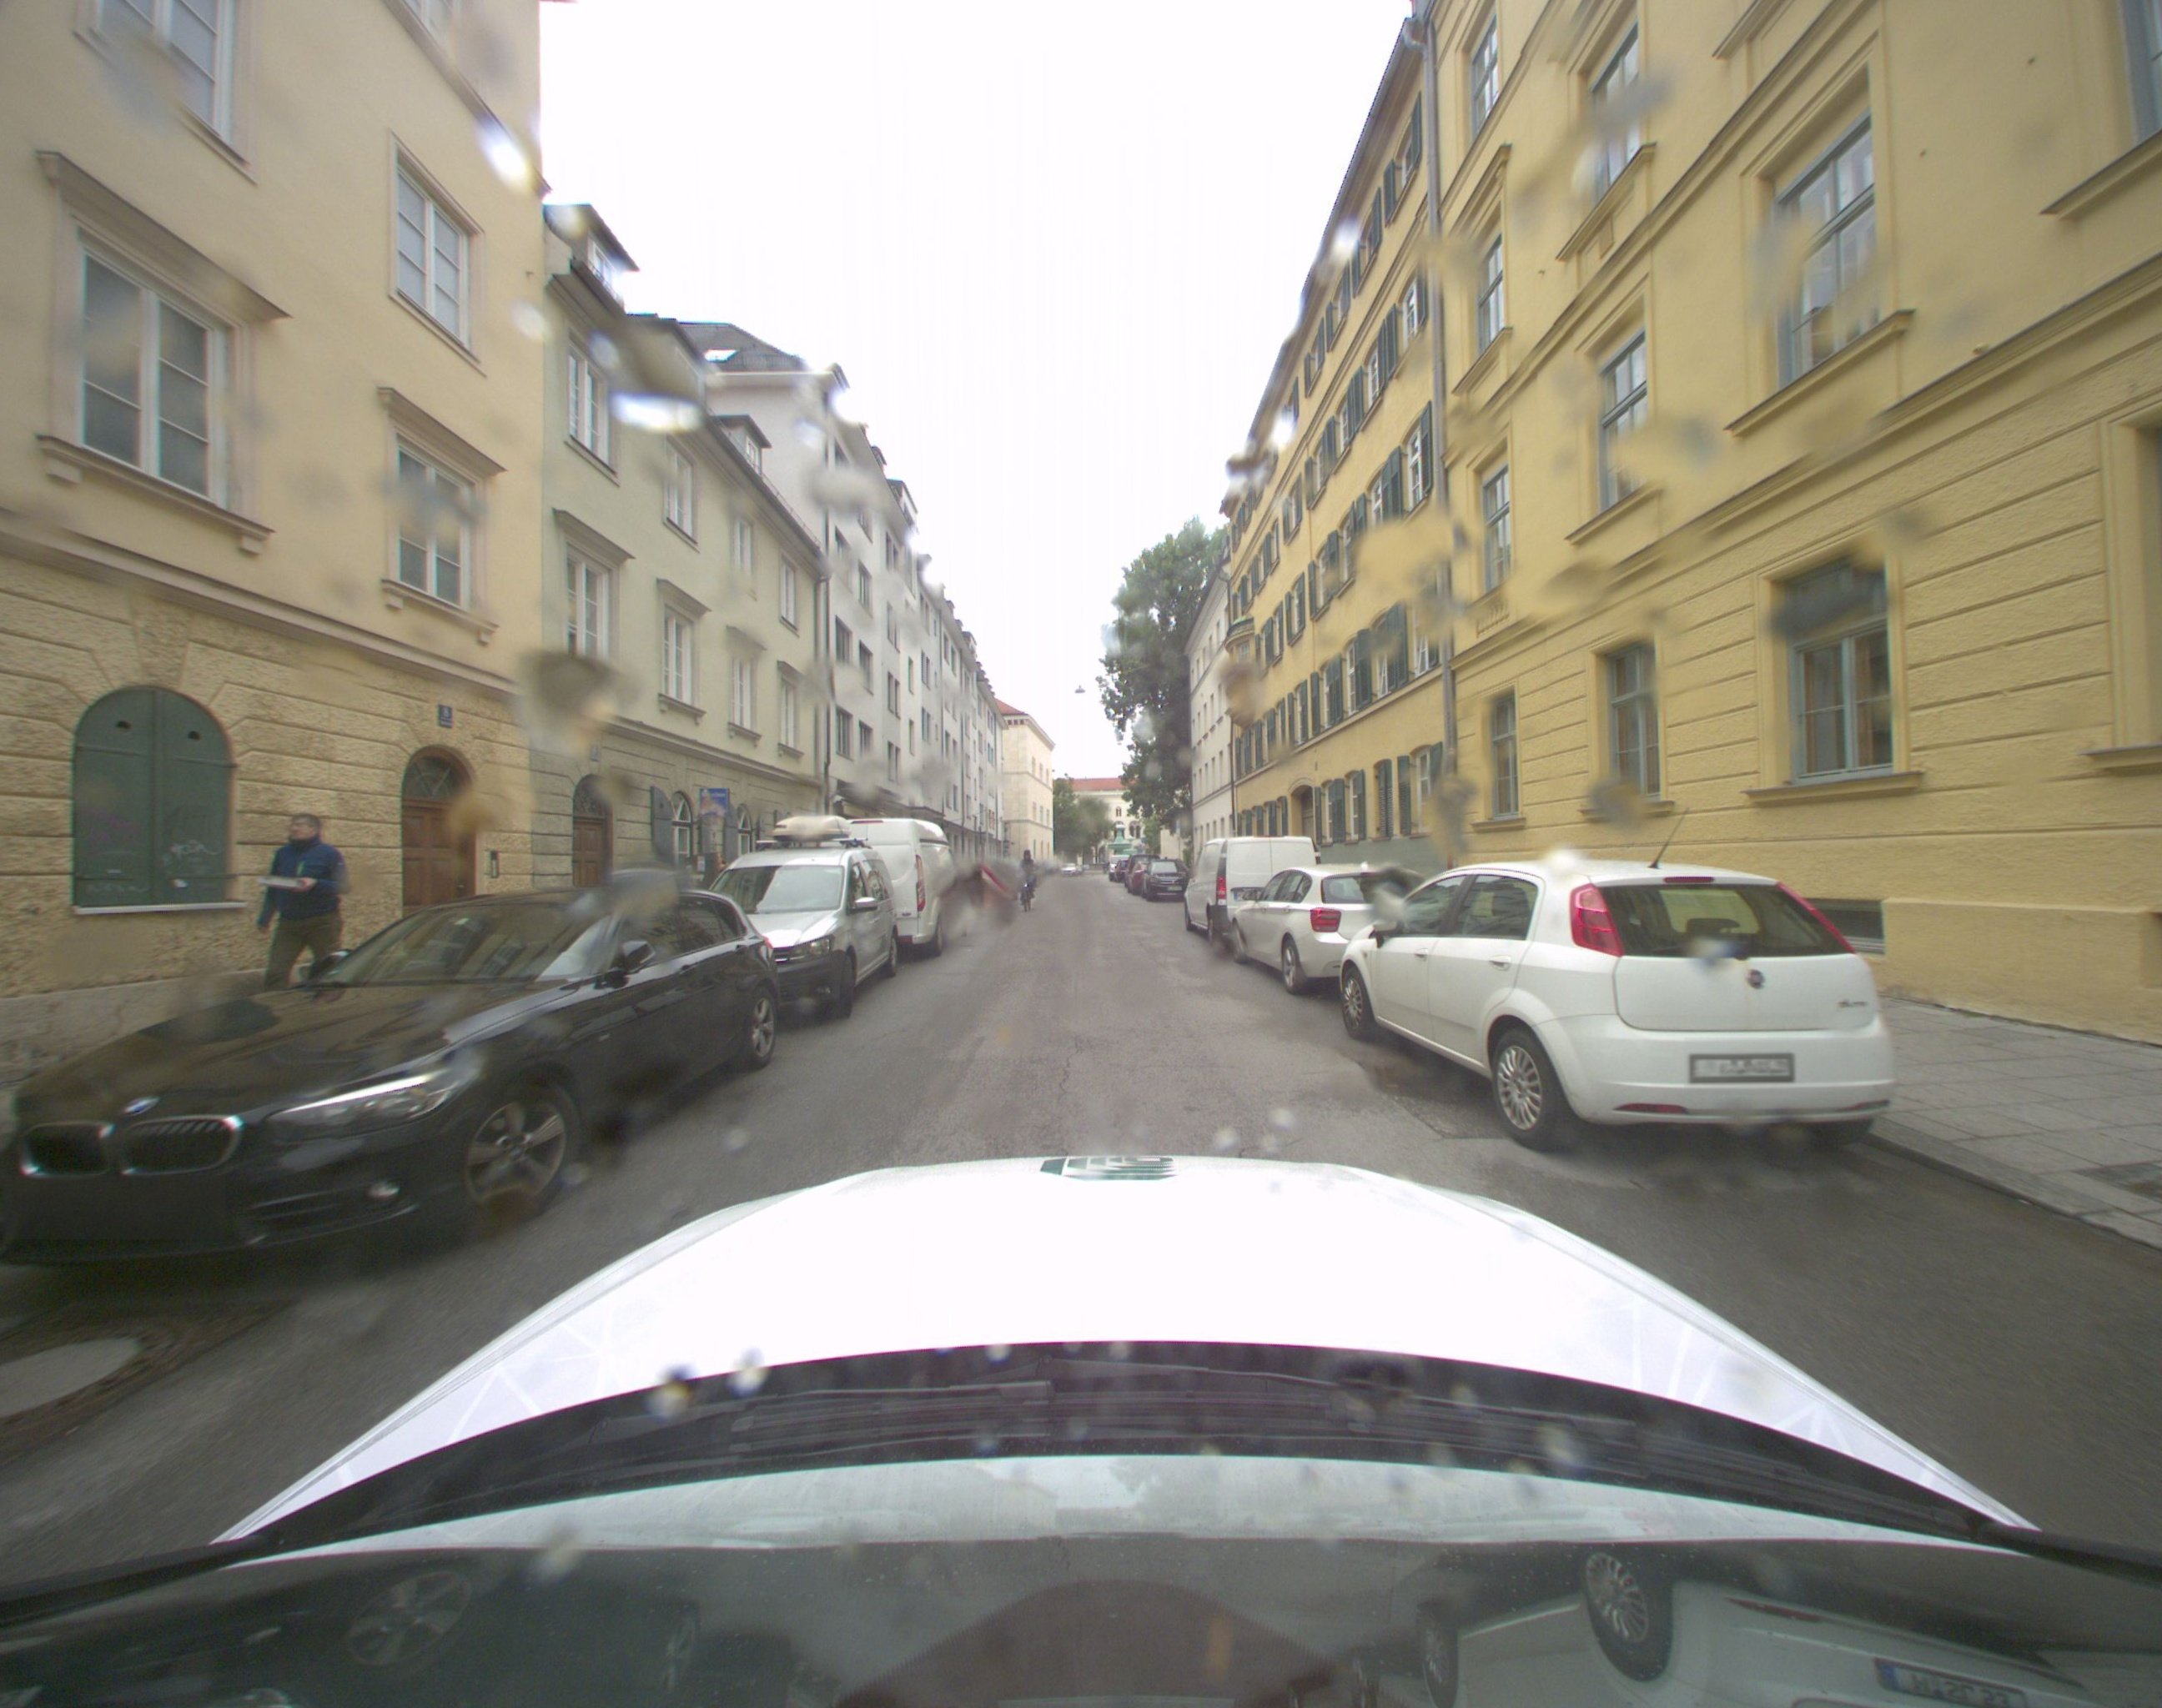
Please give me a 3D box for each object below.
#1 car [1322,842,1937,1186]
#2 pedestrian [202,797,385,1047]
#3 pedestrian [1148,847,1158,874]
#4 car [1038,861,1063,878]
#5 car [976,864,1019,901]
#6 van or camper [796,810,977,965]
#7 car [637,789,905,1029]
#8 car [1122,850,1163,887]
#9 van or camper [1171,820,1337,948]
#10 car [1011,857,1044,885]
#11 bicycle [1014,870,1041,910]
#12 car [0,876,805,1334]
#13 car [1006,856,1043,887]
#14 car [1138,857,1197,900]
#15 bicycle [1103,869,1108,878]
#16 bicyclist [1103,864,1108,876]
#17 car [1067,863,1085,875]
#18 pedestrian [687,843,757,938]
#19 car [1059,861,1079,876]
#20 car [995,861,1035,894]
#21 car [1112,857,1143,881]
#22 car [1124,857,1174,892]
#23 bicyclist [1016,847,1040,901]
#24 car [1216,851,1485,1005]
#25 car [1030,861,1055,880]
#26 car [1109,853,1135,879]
[{"bbox_3d":[3.045,0.728,5.565,1.618,1.510,3.760,-1,0,-1],"label":"car"},{"bbox_3d":[-6.723,0.550,6.993,0.802,2.014,0.750,-1,-1,1],"label":"pedestrian"},{"bbox_3d":[5.904,0.550,66.823,0.791,2.197,0.813,0,-1,-1],"label":"pedestrian"},{"bbox_3d":[-2.844,1.448,76.531,1.742,1.453,4.022,-3,0,6],"label":"car"},{"bbox_3d":[-3.468,1.139,33.695,1.637,1.354,4.049,-3,0,-6],"label":"car"},{"bbox_3d":[-3.336,0.525,15.258,1.987,2.311,5.477,-2,0,0],"label":"van or camper"},{"bbox_3d":[-3.351,0.513,9.825,1.855,2.201,4.552,0,0,-6],"label":"car"},{"bbox_3d":[3.148,0.762,42.236,1.840,1.776,4.201,1,-1,1],"label":"car"},{"bbox_3d":[3.074,0.490,15.699,1.988,2.013,5.230,-1,0,-1],"label":"van or camper"},{"bbox_3d":[-3.560,1.103,54.821,1.866,1.658,4.589,-3,0,-1],"label":"car"},{"bbox_3d":[-1.649,1.081,25.238,0.730,1.151,1.998,-1,0,-1],"label":"bicycle"},{"bbox_3d":[-3.242,0.880,4.818,1.852,1.401,4.266,0,0,-2],"label":"car"},{"bbox_3d":[-3.368,1.022,49.330,1.866,1.688,4.519,-3,0,-1],"label":"car"},{"bbox_3d":[3.133,0.848,30.187,1.740,1.464,3.999,-1,0,0],"label":"car"},{"bbox_3d":[3.329,2.612,109.506,0.646,1.197,1.951,-2,-1,2],"label":"bicycle"},{"bbox_3d":[3.298,2.162,109.565,0.654,1.551,0.888,-1,-1,3],"label":"bicyclist"},{"bbox_3d":[-0.564,1.826,98.241,1.690,1.393,4.218,-3,-2,6],"label":"car"},{"bbox_3d":[-6.716,0.666,15.286,0.802,1.712,1.022,-1,0,1],"label":"pedestrian"},{"bbox_3d":[-1.342,1.650,91.792,1.770,1.535,4.216,-3,-2,4],"label":"car"},{"bbox_3d":[-3.478,1.200,43.347,1.768,1.539,4.157,-3,0,-1],"label":"car"},{"bbox_3d":[3.161,1.021,56.462,1.803,1.600,4.212,0,-1,-2],"label":"car"},{"bbox_3d":[2.926,0.872,35.689,1.708,1.424,4.455,-1,-1,-1],"label":"car"},{"bbox_3d":[-1.642,0.608,25.311,0.684,1.627,0.852,0,-1,-1],"label":"bicyclist"},{"bbox_3d":[3.109,0.758,10.525,1.811,1.510,4.584,-1,0,-2],"label":"car"},{"bbox_3d":[-3.389,1.437,71.777,1.743,1.453,4.019,-3,0,3],"label":"car"},{"bbox_3d":[3.115,0.910,62.562,1.875,1.924,4.877,-1,-1,2],"label":"car"}]
